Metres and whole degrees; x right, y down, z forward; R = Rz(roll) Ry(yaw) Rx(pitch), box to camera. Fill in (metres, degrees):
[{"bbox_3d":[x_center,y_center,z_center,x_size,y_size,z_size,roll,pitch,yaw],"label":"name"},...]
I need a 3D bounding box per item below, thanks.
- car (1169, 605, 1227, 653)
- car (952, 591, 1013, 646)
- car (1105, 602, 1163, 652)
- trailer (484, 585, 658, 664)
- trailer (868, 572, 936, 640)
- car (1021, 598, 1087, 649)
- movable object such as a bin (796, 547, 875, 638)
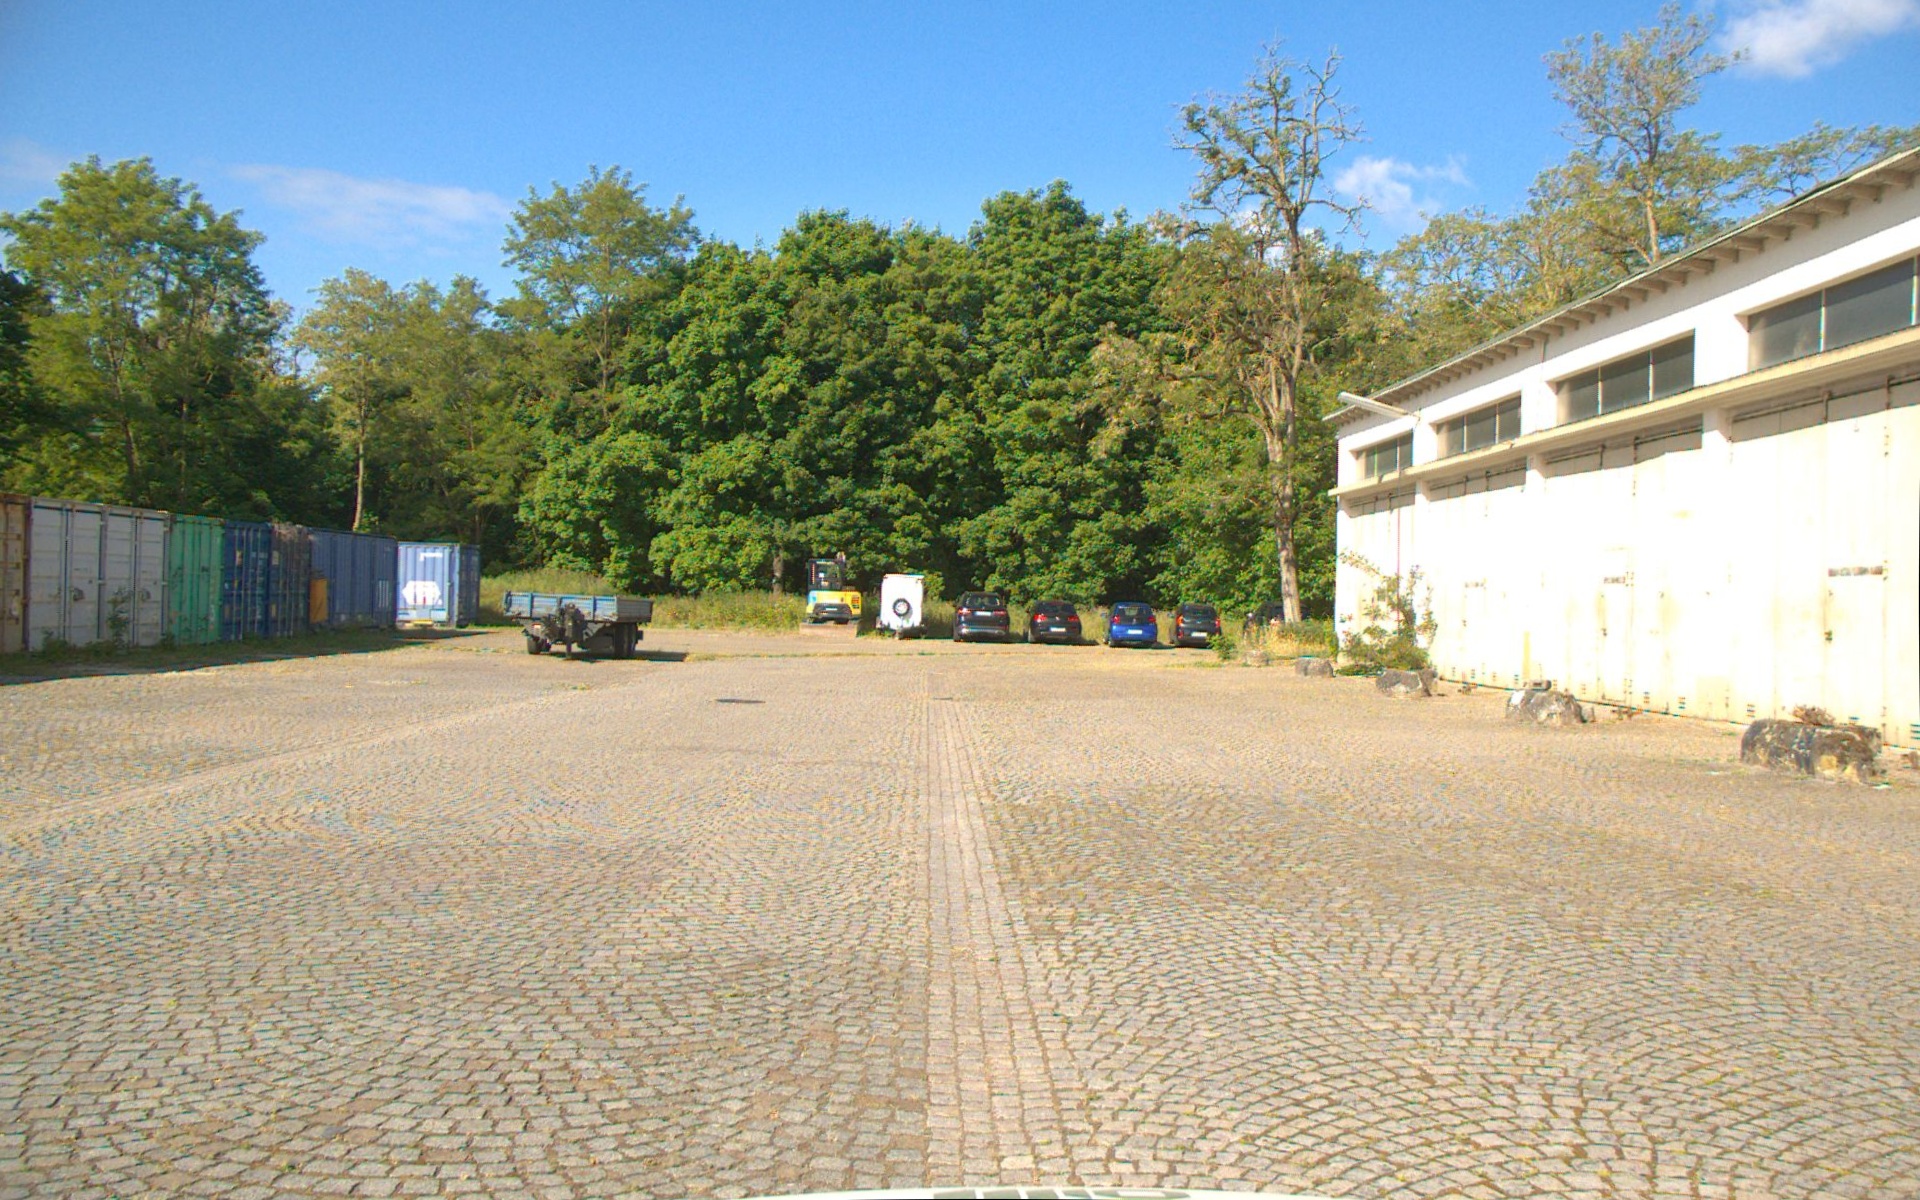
[{"bbox_3d":[8.214,0.981,57.345,1.707,1.461,4.186,3,1,6],"label":"car"},{"bbox_3d":[0.705,0.584,55.440,1.826,1.617,4.295,3,1,-2],"label":"car"},{"bbox_3d":[5.843,0.876,55.876,1.708,1.461,4.185,3,1,4],"label":"car"},{"bbox_3d":[-8.651,0.478,37.491,2.651,1.491,6.244,3,1,-3],"label":"trailer"},{"bbox_3d":[-1.982,0.141,57.753,2.149,2.131,5.750,3,1,-2],"label":"trailer"},{"bbox_3d":[3.133,0.750,55.869,1.826,1.495,4.295,3,1,-2],"label":"car"},{"bbox_3d":[-4.315,-0.302,58.290,2.259,2.947,5.751,3,1,0],"label":"movable object such as a bin"}]
